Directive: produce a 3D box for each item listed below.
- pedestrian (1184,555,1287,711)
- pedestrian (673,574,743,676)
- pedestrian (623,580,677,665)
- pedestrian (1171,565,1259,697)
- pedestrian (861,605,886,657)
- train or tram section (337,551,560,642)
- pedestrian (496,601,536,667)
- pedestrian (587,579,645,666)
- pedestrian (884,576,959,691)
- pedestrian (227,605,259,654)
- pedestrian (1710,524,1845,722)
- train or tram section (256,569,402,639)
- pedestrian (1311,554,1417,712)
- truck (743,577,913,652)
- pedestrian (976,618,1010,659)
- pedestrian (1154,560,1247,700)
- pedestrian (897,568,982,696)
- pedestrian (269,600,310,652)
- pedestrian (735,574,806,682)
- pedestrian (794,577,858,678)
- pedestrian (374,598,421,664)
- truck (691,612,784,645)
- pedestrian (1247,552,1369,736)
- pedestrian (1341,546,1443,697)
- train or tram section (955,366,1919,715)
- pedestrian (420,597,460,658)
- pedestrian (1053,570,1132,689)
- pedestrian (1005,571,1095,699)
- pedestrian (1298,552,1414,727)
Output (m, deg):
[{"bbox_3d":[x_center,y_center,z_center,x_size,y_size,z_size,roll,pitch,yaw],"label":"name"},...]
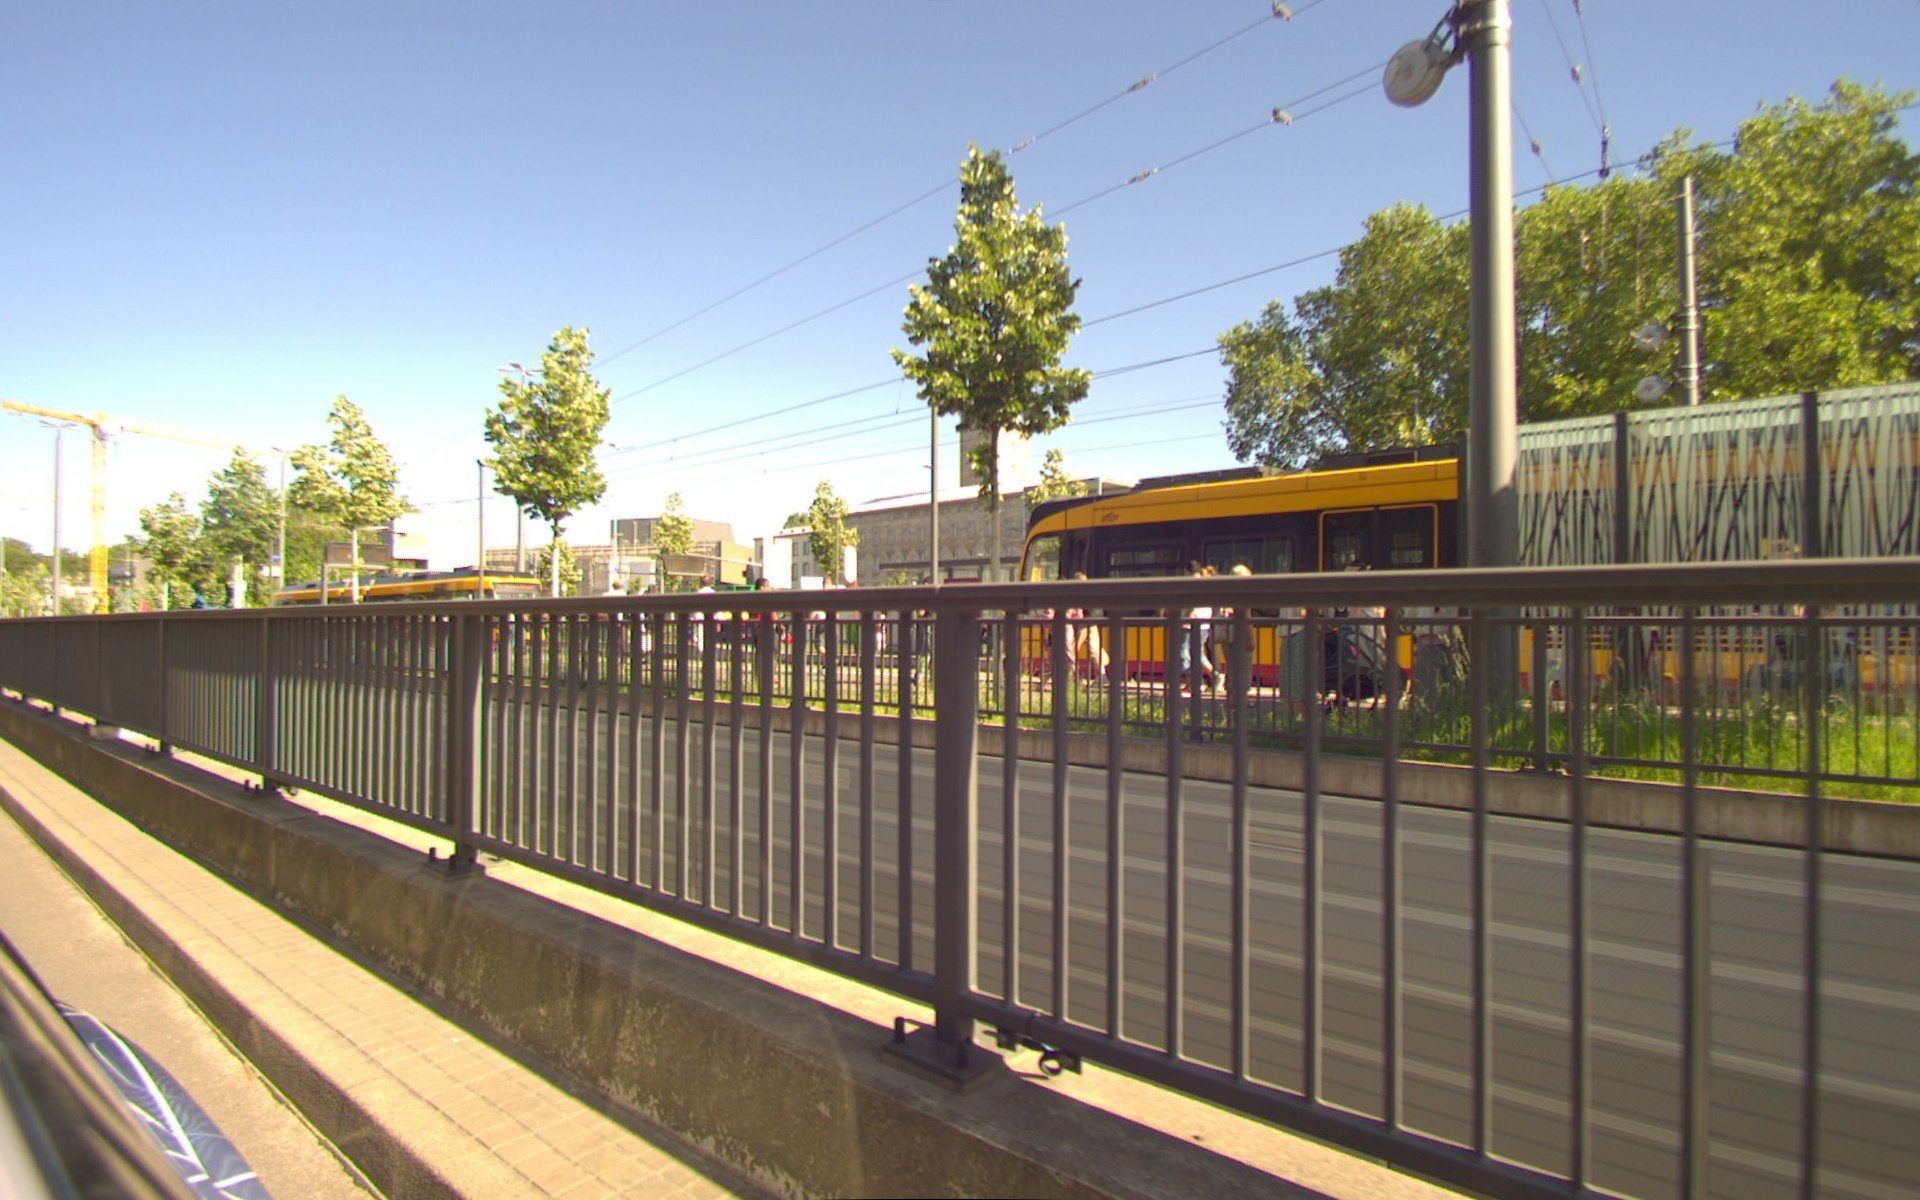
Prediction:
[{"bbox_3d":[3.057,0.357,11.247,0.861,1.641,0.733,-1,-2,42],"label":"pedestrian"},{"bbox_3d":[-4.756,0.469,19.117,1.007,1.865,0.877,-1,-2,41],"label":"pedestrian"},{"bbox_3d":[-6.838,0.501,22.305,1.074,1.824,0.665,-1,-2,41],"label":"pedestrian"},{"bbox_3d":[3.313,0.394,13.174,0.861,1.641,0.733,-1,-2,42],"label":"pedestrian"},{"bbox_3d":[-2.680,0.951,31.430,0.590,1.605,0.525,-1,-2,39],"label":"pedestrian"},{"bbox_3d":[-22.452,0.008,43.498,15.959,3.346,2.818,-1,-1,42],"label":"train or tram section"},{"bbox_3d":[-10.505,0.807,23.966,0.588,1.524,0.641,-3,-1,38],"label":"pedestrian"},{"bbox_3d":[-7.423,0.482,21.819,1.030,1.824,0.761,-1,-2,41],"label":"pedestrian"},{"bbox_3d":[-0.572,0.492,15.015,0.861,1.641,0.733,-1,-2,42],"label":"pedestrian"},{"bbox_3d":[-26.654,1.097,37.612,0.958,1.788,0.696,-3,-1,39],"label":"pedestrian"},{"bbox_3d":[7.231,0.205,8.954,0.861,1.641,0.733,-1,-2,42],"label":"pedestrian"},{"bbox_3d":[-33.331,0.295,53.109,13.067,3.334,2.840,-2,0,41],"label":"train or tram section"},{"bbox_3d":[4.411,0.354,11.049,0.861,1.641,0.733,-1,-2,42],"label":"pedestrian"},{"bbox_3d":[-5.873,0.628,44.040,7.950,2.992,2.690,-1,0,41],"label":"truck"},{"bbox_3d":[0.928,1.062,28.340,0.682,1.138,0.649,-1,-2,39],"label":"pedestrian"},{"bbox_3d":[2.938,0.361,12.375,0.861,1.641,0.733,-1,-2,42],"label":"pedestrian"},{"bbox_3d":[-0.278,0.421,13.507,0.861,1.641,0.733,-1,-2,42],"label":"pedestrian"},{"bbox_3d":[-24.017,0.932,36.259,1.187,1.788,0.865,-3,-1,39],"label":"pedestrian"},{"bbox_3d":[-2.971,0.435,15.868,0.861,1.641,0.733,-1,-2,42],"label":"pedestrian"},{"bbox_3d":[-2.340,0.470,17.637,0.861,1.707,0.733,-1,-2,42],"label":"pedestrian"},{"bbox_3d":[-15.638,0.861,28.140,0.977,1.788,0.783,-3,-1,38],"label":"pedestrian"},{"bbox_3d":[-19.471,2.492,88.889,7.912,2.814,2.465,1,-2,-43],"label":"truck"},{"bbox_3d":[3.290,0.401,9.576,0.861,1.641,0.733,-1,-2,42],"label":"pedestrian"},{"bbox_3d":[4.948,0.244,11.595,0.861,1.641,0.733,-1,-2,42],"label":"pedestrian"},{"bbox_3d":[6.556,-0.496,13.736,15.178,3.304,2.840,-2,0,41],"label":"train or tram section"},{"bbox_3d":[-15.447,0.815,30.061,0.825,1.788,0.754,-3,-1,38],"label":"pedestrian"},{"bbox_3d":[1.897,0.423,14.527,0.861,1.641,0.733,-1,-2,42],"label":"pedestrian"},{"bbox_3d":[1.205,0.465,13.556,0.947,1.641,0.733,-1,-2,42],"label":"pedestrian"},{"bbox_3d":[3.946,0.380,10.081,0.861,1.641,0.733,-1,-2,42],"label":"pedestrian"}]
